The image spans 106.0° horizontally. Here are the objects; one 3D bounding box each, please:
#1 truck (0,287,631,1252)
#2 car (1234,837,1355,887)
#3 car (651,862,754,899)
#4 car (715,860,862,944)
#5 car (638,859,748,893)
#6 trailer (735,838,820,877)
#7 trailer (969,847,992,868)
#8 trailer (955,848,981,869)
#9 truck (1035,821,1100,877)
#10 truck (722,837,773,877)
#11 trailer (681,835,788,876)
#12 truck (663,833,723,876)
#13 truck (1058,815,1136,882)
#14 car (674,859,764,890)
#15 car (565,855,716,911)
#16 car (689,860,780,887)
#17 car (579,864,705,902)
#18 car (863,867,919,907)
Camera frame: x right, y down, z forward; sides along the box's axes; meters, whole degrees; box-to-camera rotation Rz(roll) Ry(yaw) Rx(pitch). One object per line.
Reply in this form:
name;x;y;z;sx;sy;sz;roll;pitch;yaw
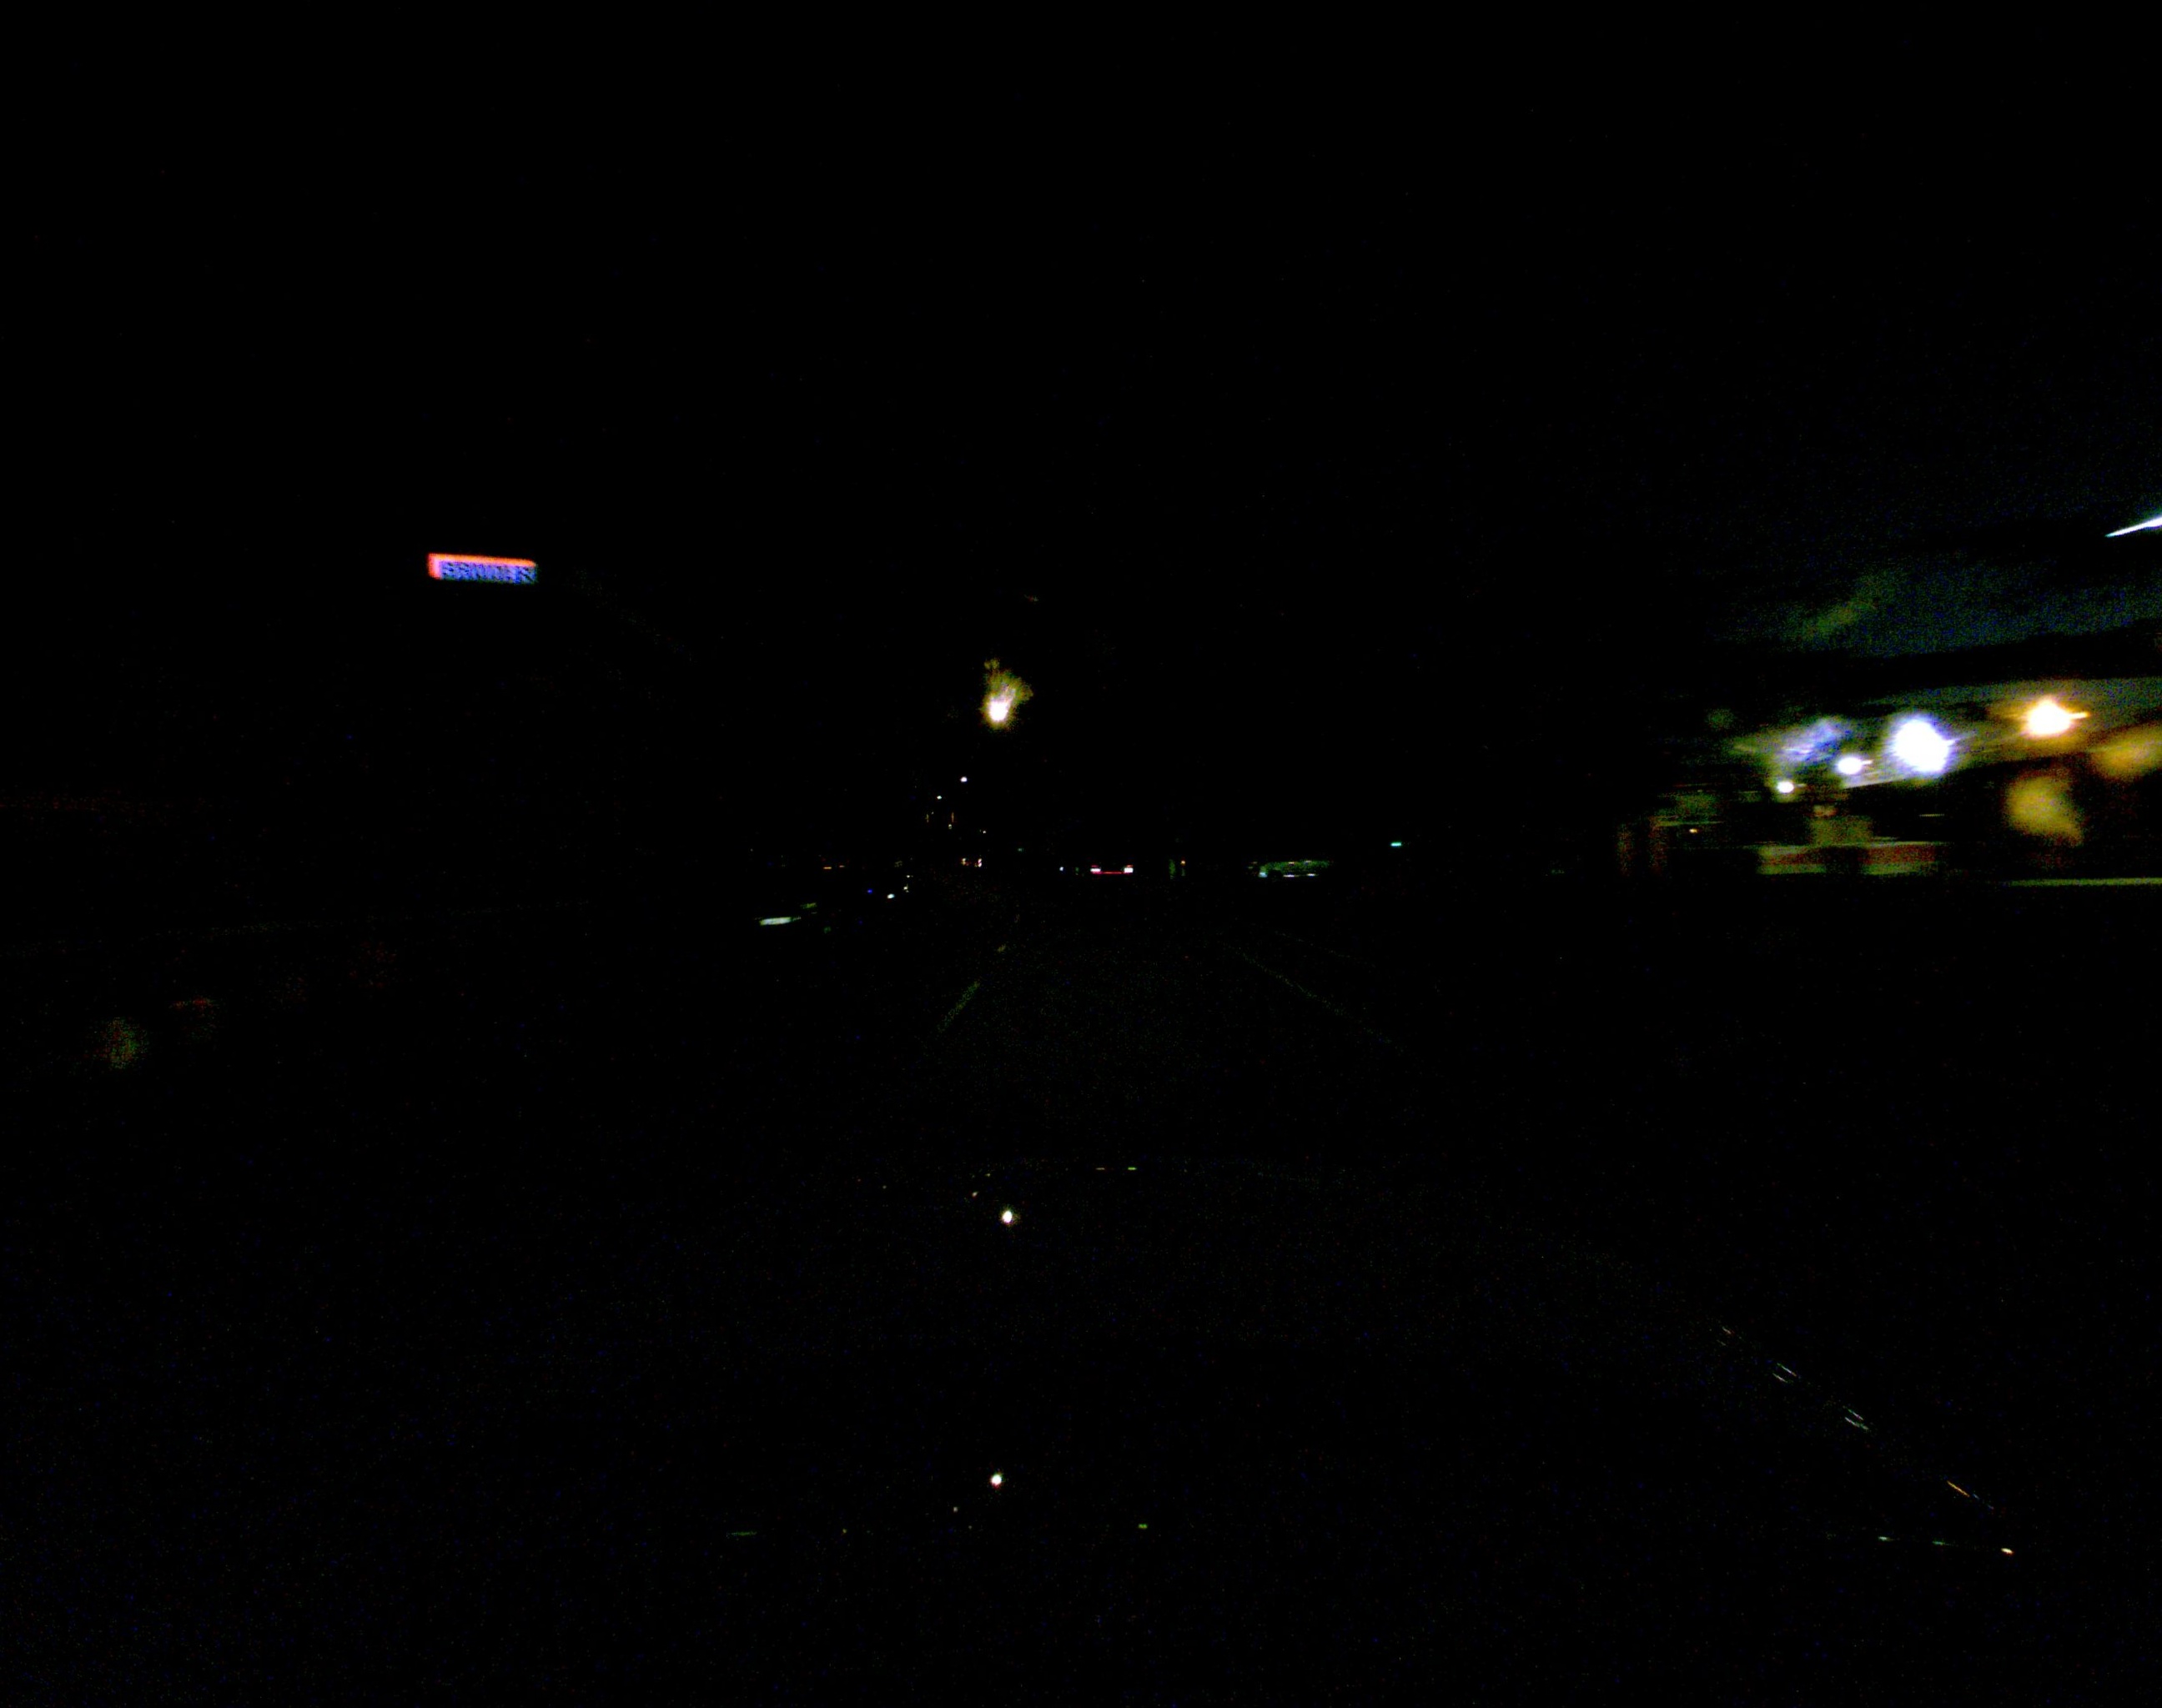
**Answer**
truck;-5.985;-0.343;3.370;2.762;4.120;9.343;-2;0;1
car;8.645;0.296;33.128;4.332;1.646;1.883;-4;1;-14
car;-19.294;1.325;41.717;4.405;1.681;1.955;-1;0;-11
car;-6.474;0.978;18.594;1.862;1.593;4.489;-2;0;-3
car;-18.713;1.030;39.447;4.402;1.478;1.845;-1;0;-9
trailer;-33.062;0.335;89.857;3.045;3.932;15.014;0;0;3
trailer;-14.172;0.499;114.798;2.619;2.846;4.683;0;-1;-16
trailer;-17.901;0.682;128.919;3.489;3.219;4.838;0;-1;-16
truck;-1.193;-0.320;61.284;2.758;3.783;10.180;-2;0;-13
truck;-33.496;0.286;81.995;3.046;3.932;4.506;0;0;2
trailer;-37.330;0.168;88.770;3.039;4.148;15.043;0;0;10
truck;-38.620;0.102;81.166;3.039;4.148;4.949;0;0;10
truck;0.823;-0.290;51.420;2.758;3.783;9.098;-2;0;-12
car;-19.833;1.099;44.744;4.130;1.579;1.836;-1;0;-9
car;-16.096;1.033;29.959;4.403;1.816;1.956;-2;0;-9
car;-20.109;1.126;47.423;4.442;1.452;2.057;-1;0;-6
car;-18.463;1.200;34.448;4.265;1.394;1.822;-1;0;-9
car;-7.447;1.236;32.187;1.814;1.371;4.346;-2;0;-9
